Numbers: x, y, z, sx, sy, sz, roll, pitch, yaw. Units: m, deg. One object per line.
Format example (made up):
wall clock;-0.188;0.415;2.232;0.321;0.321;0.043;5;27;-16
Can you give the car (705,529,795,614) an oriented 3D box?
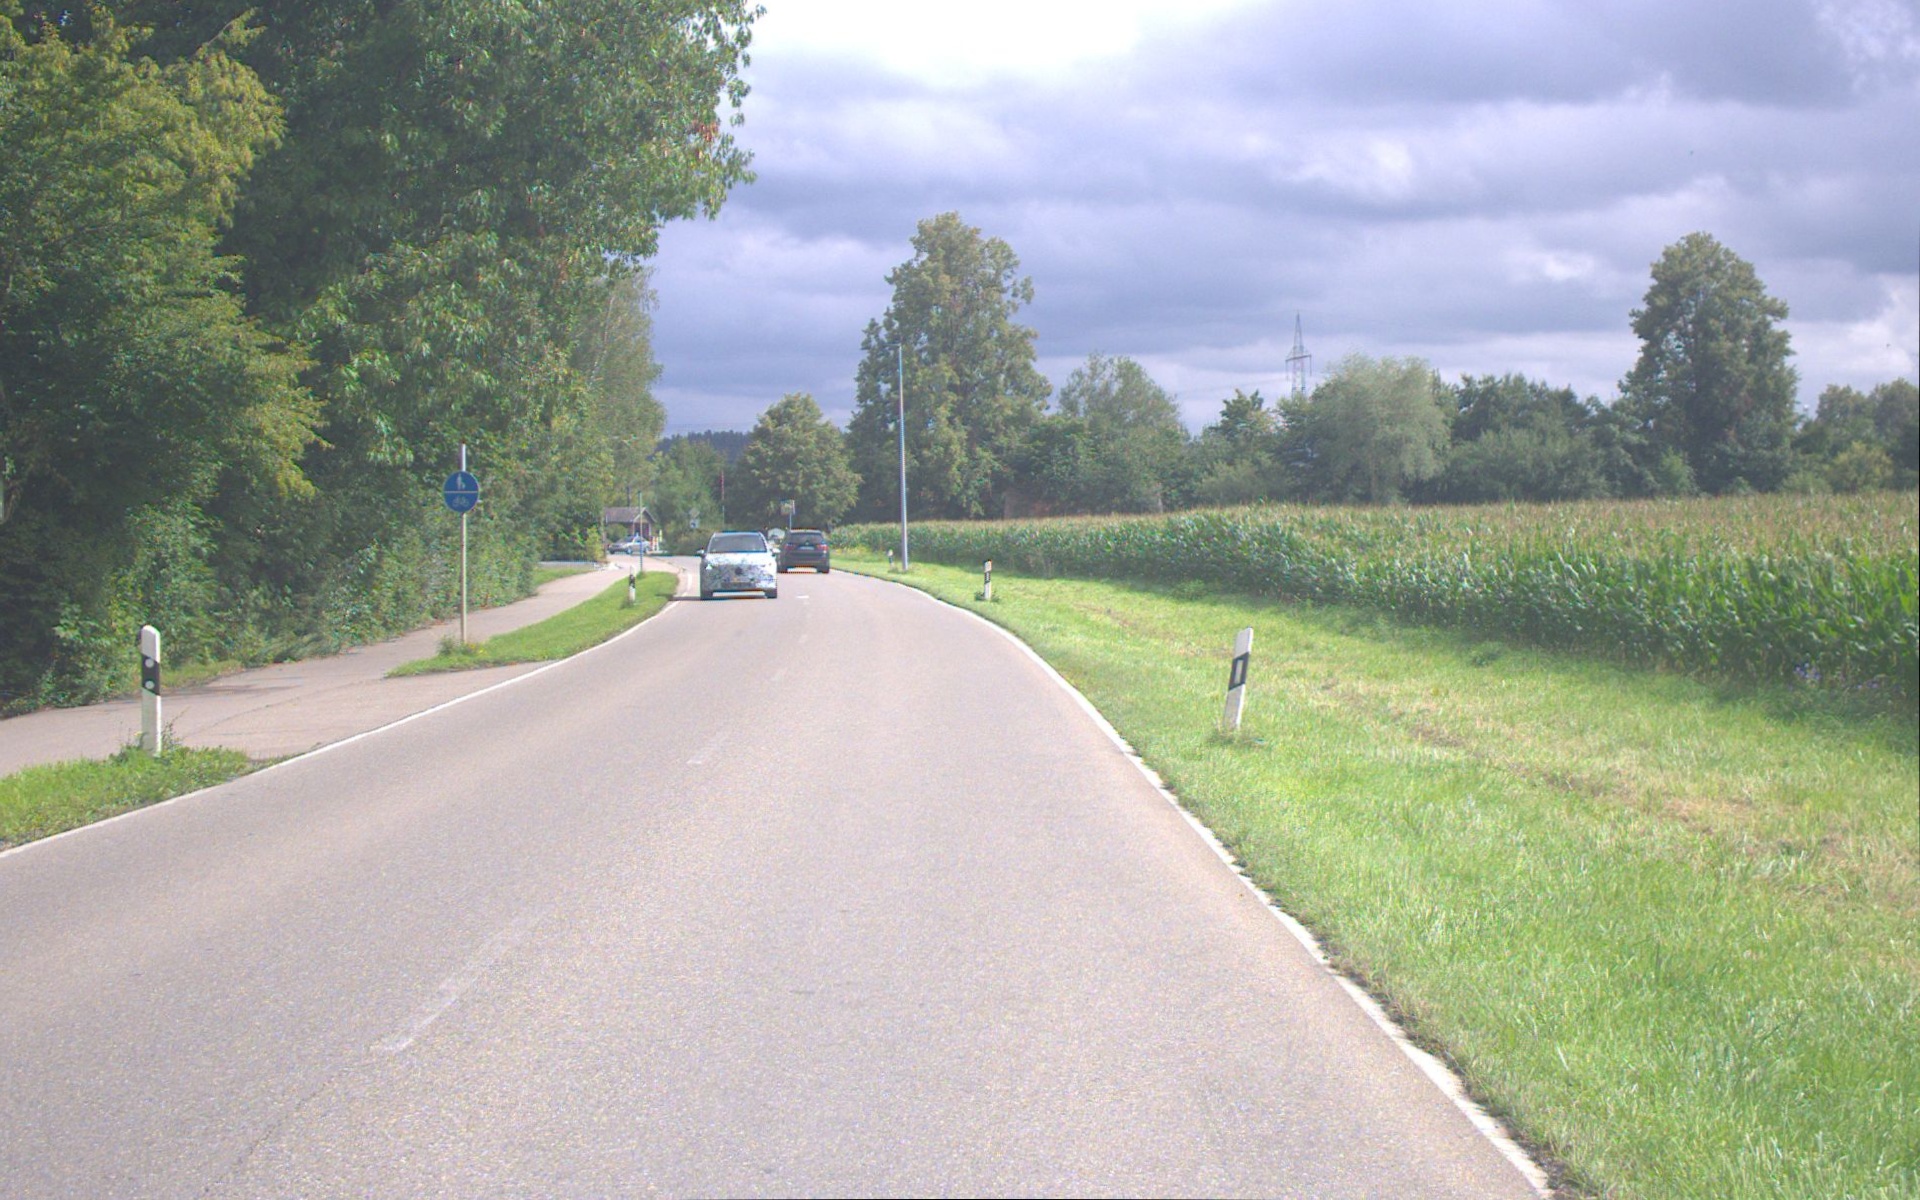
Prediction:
car;-5.173;-0.707;85.029;1.993;2.007;4.000;1;1;-1

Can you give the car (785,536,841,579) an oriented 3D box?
car;-5.653;-1.628;132.486;1.993;1.579;4.000;1;1;-1

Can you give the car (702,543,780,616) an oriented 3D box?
car;-5.432;-0.524;85.041;1.811;1.645;4.293;-2;1;-4
